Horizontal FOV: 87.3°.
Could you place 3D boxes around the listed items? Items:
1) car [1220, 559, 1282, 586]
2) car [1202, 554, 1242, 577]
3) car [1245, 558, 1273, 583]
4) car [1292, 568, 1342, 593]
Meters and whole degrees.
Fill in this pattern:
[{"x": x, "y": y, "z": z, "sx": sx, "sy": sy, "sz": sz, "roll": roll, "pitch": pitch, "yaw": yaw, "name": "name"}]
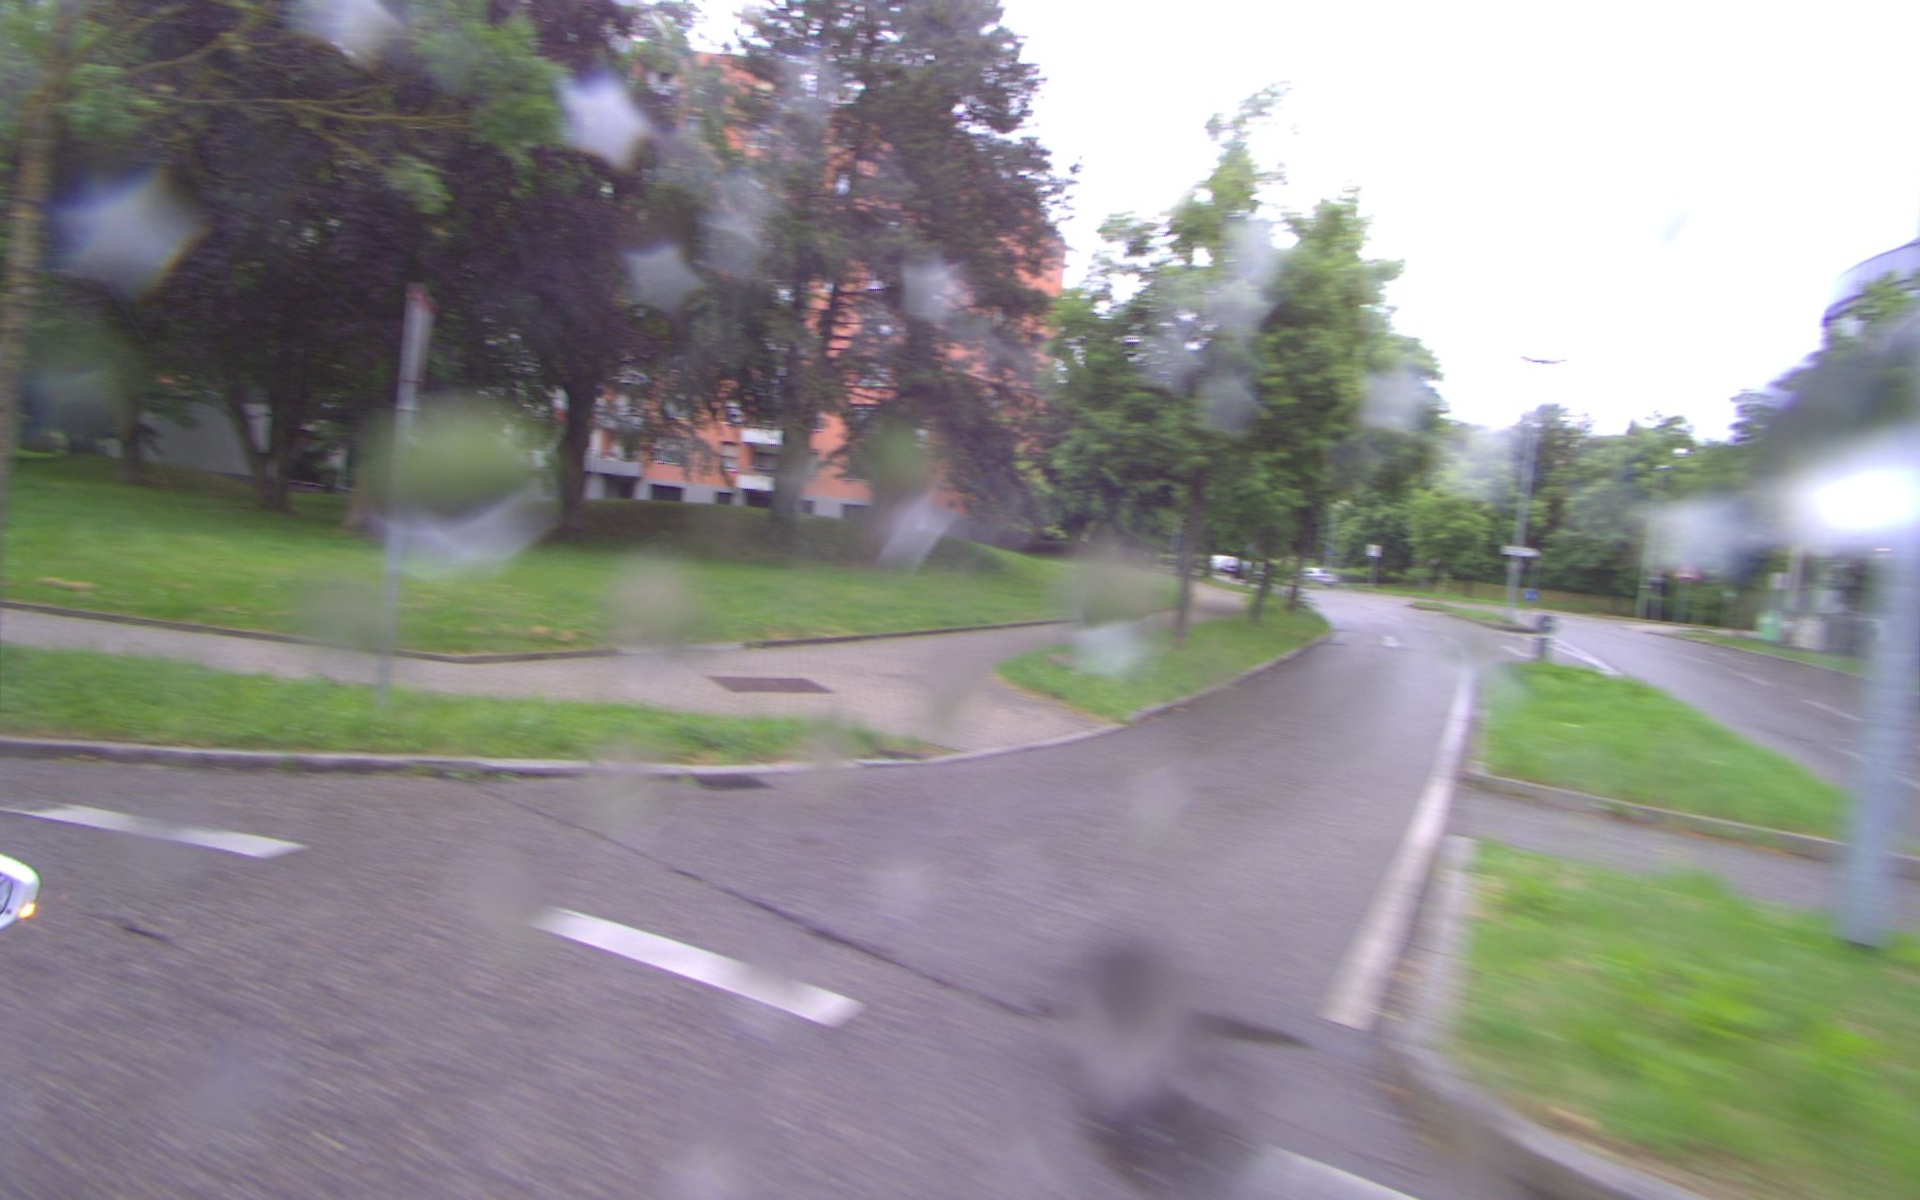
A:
[{"x": 22.313, "y": -2.119, "z": 77.149, "sx": 1.816, "sy": 1.640, "sz": 4.050, "roll": 4, "pitch": 4, "yaw": -44, "name": "car"}, {"x": 25.397, "y": -3.345, "z": 97.617, "sx": 1.967, "sy": 1.898, "sz": 3.986, "roll": 6, "pitch": 2, "yaw": -13, "name": "car"}, {"x": 21.435, "y": -2.080, "z": 72.214, "sx": 1.598, "sy": 1.460, "sz": 3.595, "roll": 9, "pitch": 3, "yaw": 15, "name": "car"}, {"x": 27.887, "y": -1.543, "z": 78.670, "sx": 1.854, "sy": 1.586, "sz": 3.989, "roll": 6, "pitch": 2, "yaw": -10, "name": "car"}]
